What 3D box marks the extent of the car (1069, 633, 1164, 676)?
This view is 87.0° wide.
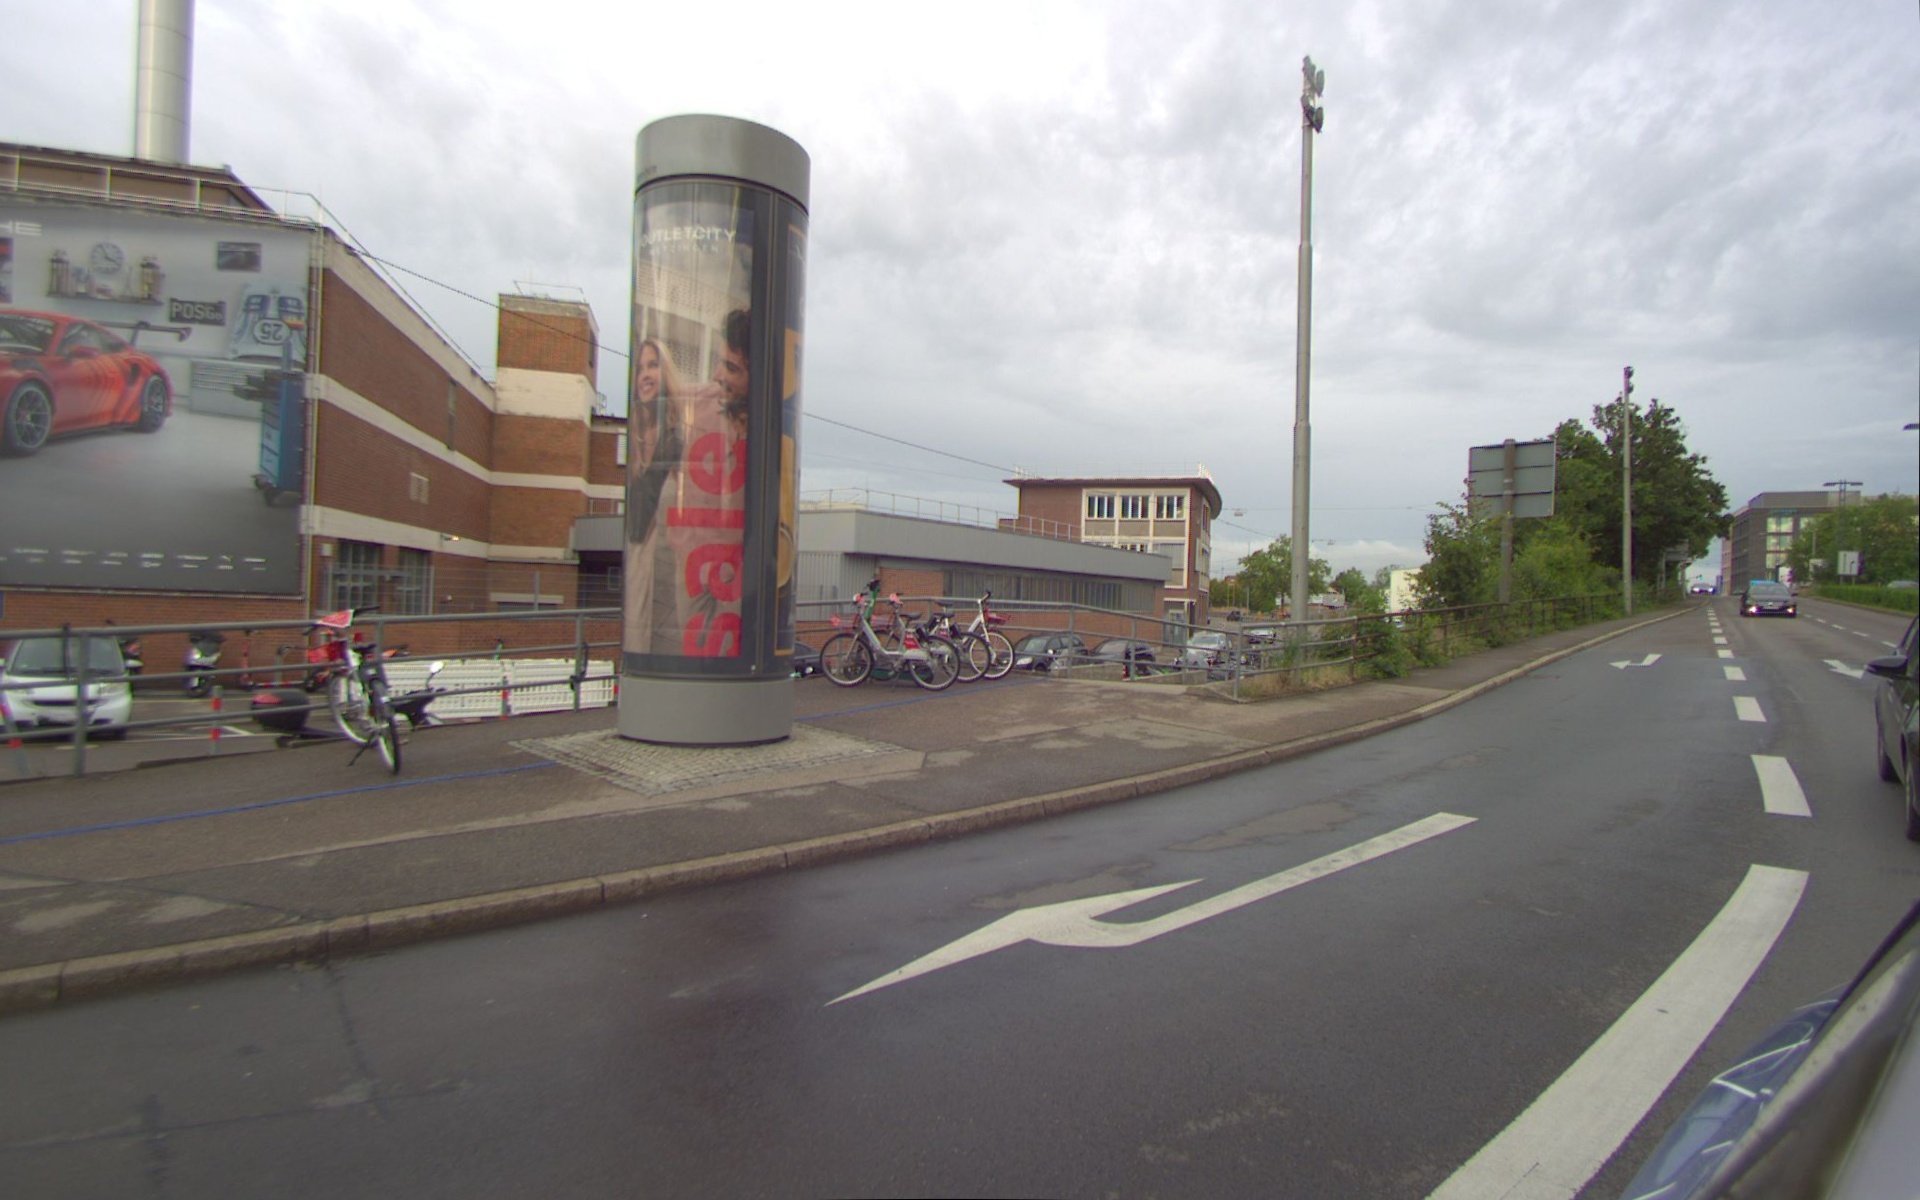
[{"bbox_3d":[6.158,2.077,39.405,1.713,1.422,4.212,0,0,41],"label":"car"}]

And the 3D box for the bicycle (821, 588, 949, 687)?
[{"bbox_3d":[-0.881,0.432,11.977,1.438,1.086,0.442,1,3,8],"label":"bicycle"}]

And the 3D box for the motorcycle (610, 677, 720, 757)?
[{"bbox_3d":[-4.008,1.564,13.716,1.604,0.933,0.477,-1,1,32],"label":"motorcycle"}]

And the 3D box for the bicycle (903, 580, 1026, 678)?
[{"bbox_3d":[0.052,0.350,13.173,1.527,1.169,0.448,2,3,22],"label":"bicycle"}]

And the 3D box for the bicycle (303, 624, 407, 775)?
[{"bbox_3d":[-4.465,0.673,7.427,0.414,0.933,1.615,1,1,-39],"label":"bicycle"}]

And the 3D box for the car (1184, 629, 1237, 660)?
[{"bbox_3d":[12.760,2.226,51.397,1.717,1.406,3.962,0,0,27],"label":"car"}]

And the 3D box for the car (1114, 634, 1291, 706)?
[{"bbox_3d":[5.729,1.604,24.323,1.688,1.444,3.998,1,0,-36],"label":"car"}]

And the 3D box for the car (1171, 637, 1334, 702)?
[{"bbox_3d":[7.764,1.807,27.152,1.688,1.444,3.998,1,0,-36],"label":"car"}]

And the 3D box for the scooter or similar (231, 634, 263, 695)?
[{"bbox_3d":[-14.335,1.271,20.336,0.495,1.110,1.638,-1,1,-36],"label":"scooter or similar"}]

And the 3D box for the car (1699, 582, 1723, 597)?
[{"bbox_3d":[83.546,-1.160,112.659,1.805,1.457,4.251,2,0,32],"label":"car"}]

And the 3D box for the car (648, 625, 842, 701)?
[{"bbox_3d":[-5.065,1.430,24.396,1.880,1.570,4.446,0,0,38],"label":"car"}]

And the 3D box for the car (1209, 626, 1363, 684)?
[{"bbox_3d":[9.315,1.532,29.191,1.688,1.444,3.998,1,0,-36],"label":"car"}]

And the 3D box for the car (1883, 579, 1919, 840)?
[{"bbox_3d":[7.148,0.633,6.442,1.687,1.526,3.953,0,1,40],"label":"car"}]

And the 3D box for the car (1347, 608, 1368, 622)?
[{"bbox_3d":[44.710,1.688,113.964,1.695,1.444,3.983,1,0,14],"label":"car"}]

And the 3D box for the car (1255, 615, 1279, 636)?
[{"bbox_3d":[23.277,1.903,76.631,1.698,1.444,3.977,1,0,18],"label":"car"}]

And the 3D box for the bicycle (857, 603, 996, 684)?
[{"bbox_3d":[-0.397,0.519,12.451,1.673,0.933,0.486,1,2,3],"label":"bicycle"}]

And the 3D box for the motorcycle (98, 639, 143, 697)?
[{"bbox_3d":[-15.864,1.260,19.149,0.531,0.985,1.616,-1,1,-36],"label":"motorcycle"}]

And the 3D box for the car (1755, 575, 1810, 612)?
[{"bbox_3d":[34.991,-0.305,43.082,1.741,1.493,4.012,0,1,39],"label":"car"}]

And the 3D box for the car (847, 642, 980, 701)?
[{"bbox_3d":[-1.282,2.003,29.300,1.712,1.444,3.944,0,0,38],"label":"car"}]

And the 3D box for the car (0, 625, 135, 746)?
[{"bbox_3d":[-13.710,1.193,15.418,1.541,1.508,3.992,1,0,-42],"label":"car"}]

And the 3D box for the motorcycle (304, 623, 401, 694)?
[{"bbox_3d":[-12.646,1.186,21.094,0.521,1.350,1.647,-1,1,38],"label":"motorcycle"}]

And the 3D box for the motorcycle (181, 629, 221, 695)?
[{"bbox_3d":[-14.923,1.192,19.927,0.574,1.166,1.720,-1,1,-36],"label":"motorcycle"}]

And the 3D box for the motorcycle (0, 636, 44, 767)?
[{"bbox_3d":[-7.210,0.742,6.995,0.432,0.901,1.246,1,2,40],"label":"motorcycle"}]

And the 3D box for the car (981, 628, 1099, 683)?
[{"bbox_3d":[2.821,1.838,34.693,1.776,1.688,4.438,0,0,41],"label":"car"}]

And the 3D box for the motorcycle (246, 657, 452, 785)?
[{"bbox_3d":[-5.341,1.023,8.933,0.400,0.901,1.521,0,2,36],"label":"motorcycle"}]
